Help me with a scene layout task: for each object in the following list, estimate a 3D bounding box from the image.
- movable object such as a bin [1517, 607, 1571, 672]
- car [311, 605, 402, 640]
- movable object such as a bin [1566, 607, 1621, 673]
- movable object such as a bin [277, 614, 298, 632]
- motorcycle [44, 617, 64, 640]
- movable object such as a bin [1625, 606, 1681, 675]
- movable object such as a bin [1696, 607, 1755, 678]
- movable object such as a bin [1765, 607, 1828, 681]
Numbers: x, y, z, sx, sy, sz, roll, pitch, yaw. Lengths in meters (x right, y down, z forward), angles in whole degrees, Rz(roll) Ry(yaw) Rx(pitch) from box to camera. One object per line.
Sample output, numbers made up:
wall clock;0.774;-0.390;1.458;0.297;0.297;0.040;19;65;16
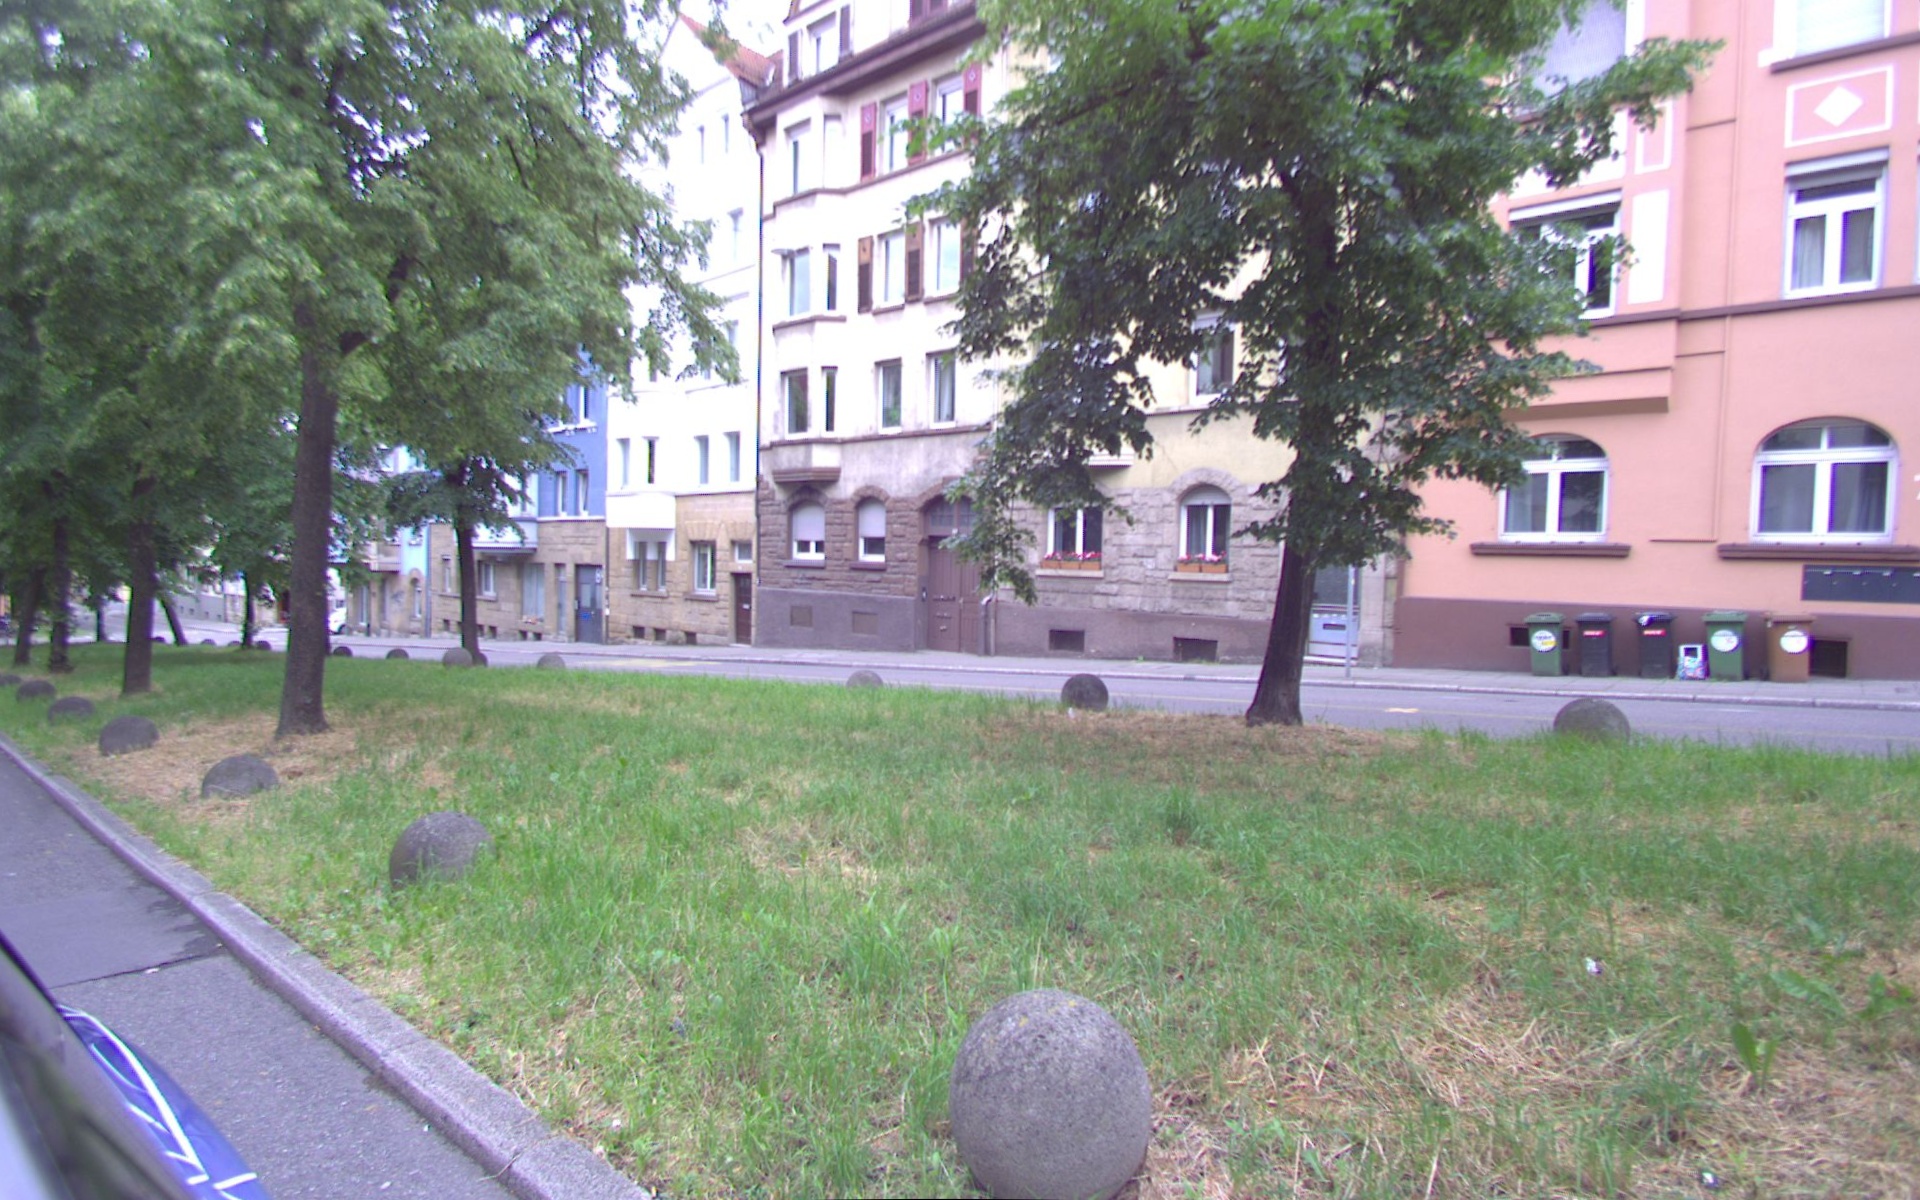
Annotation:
movable object such as a bin;8.725;0.577;15.113;0.601;0.911;0.603;-1;1;38
car;-34.245;1.237;57.515;1.870;1.480;3.959;2;7;39
movable object such as a bin;9.187;0.566;14.673;0.601;0.911;0.603;-1;1;38
movable object such as a bin;-40.772;1.390;61.390;0.668;1.001;0.876;0;3;40
motorcycle;-48.131;1.490;53.791;0.739;1.081;1.854;-1;3;-41
movable object such as a bin;9.741;0.562;14.231;0.601;0.911;0.603;-1;1;38
movable object such as a bin;10.328;0.560;13.657;0.601;0.911;0.603;-1;1;38
movable object such as a bin;10.872;0.556;13.173;0.601;0.911;0.603;-1;1;38
